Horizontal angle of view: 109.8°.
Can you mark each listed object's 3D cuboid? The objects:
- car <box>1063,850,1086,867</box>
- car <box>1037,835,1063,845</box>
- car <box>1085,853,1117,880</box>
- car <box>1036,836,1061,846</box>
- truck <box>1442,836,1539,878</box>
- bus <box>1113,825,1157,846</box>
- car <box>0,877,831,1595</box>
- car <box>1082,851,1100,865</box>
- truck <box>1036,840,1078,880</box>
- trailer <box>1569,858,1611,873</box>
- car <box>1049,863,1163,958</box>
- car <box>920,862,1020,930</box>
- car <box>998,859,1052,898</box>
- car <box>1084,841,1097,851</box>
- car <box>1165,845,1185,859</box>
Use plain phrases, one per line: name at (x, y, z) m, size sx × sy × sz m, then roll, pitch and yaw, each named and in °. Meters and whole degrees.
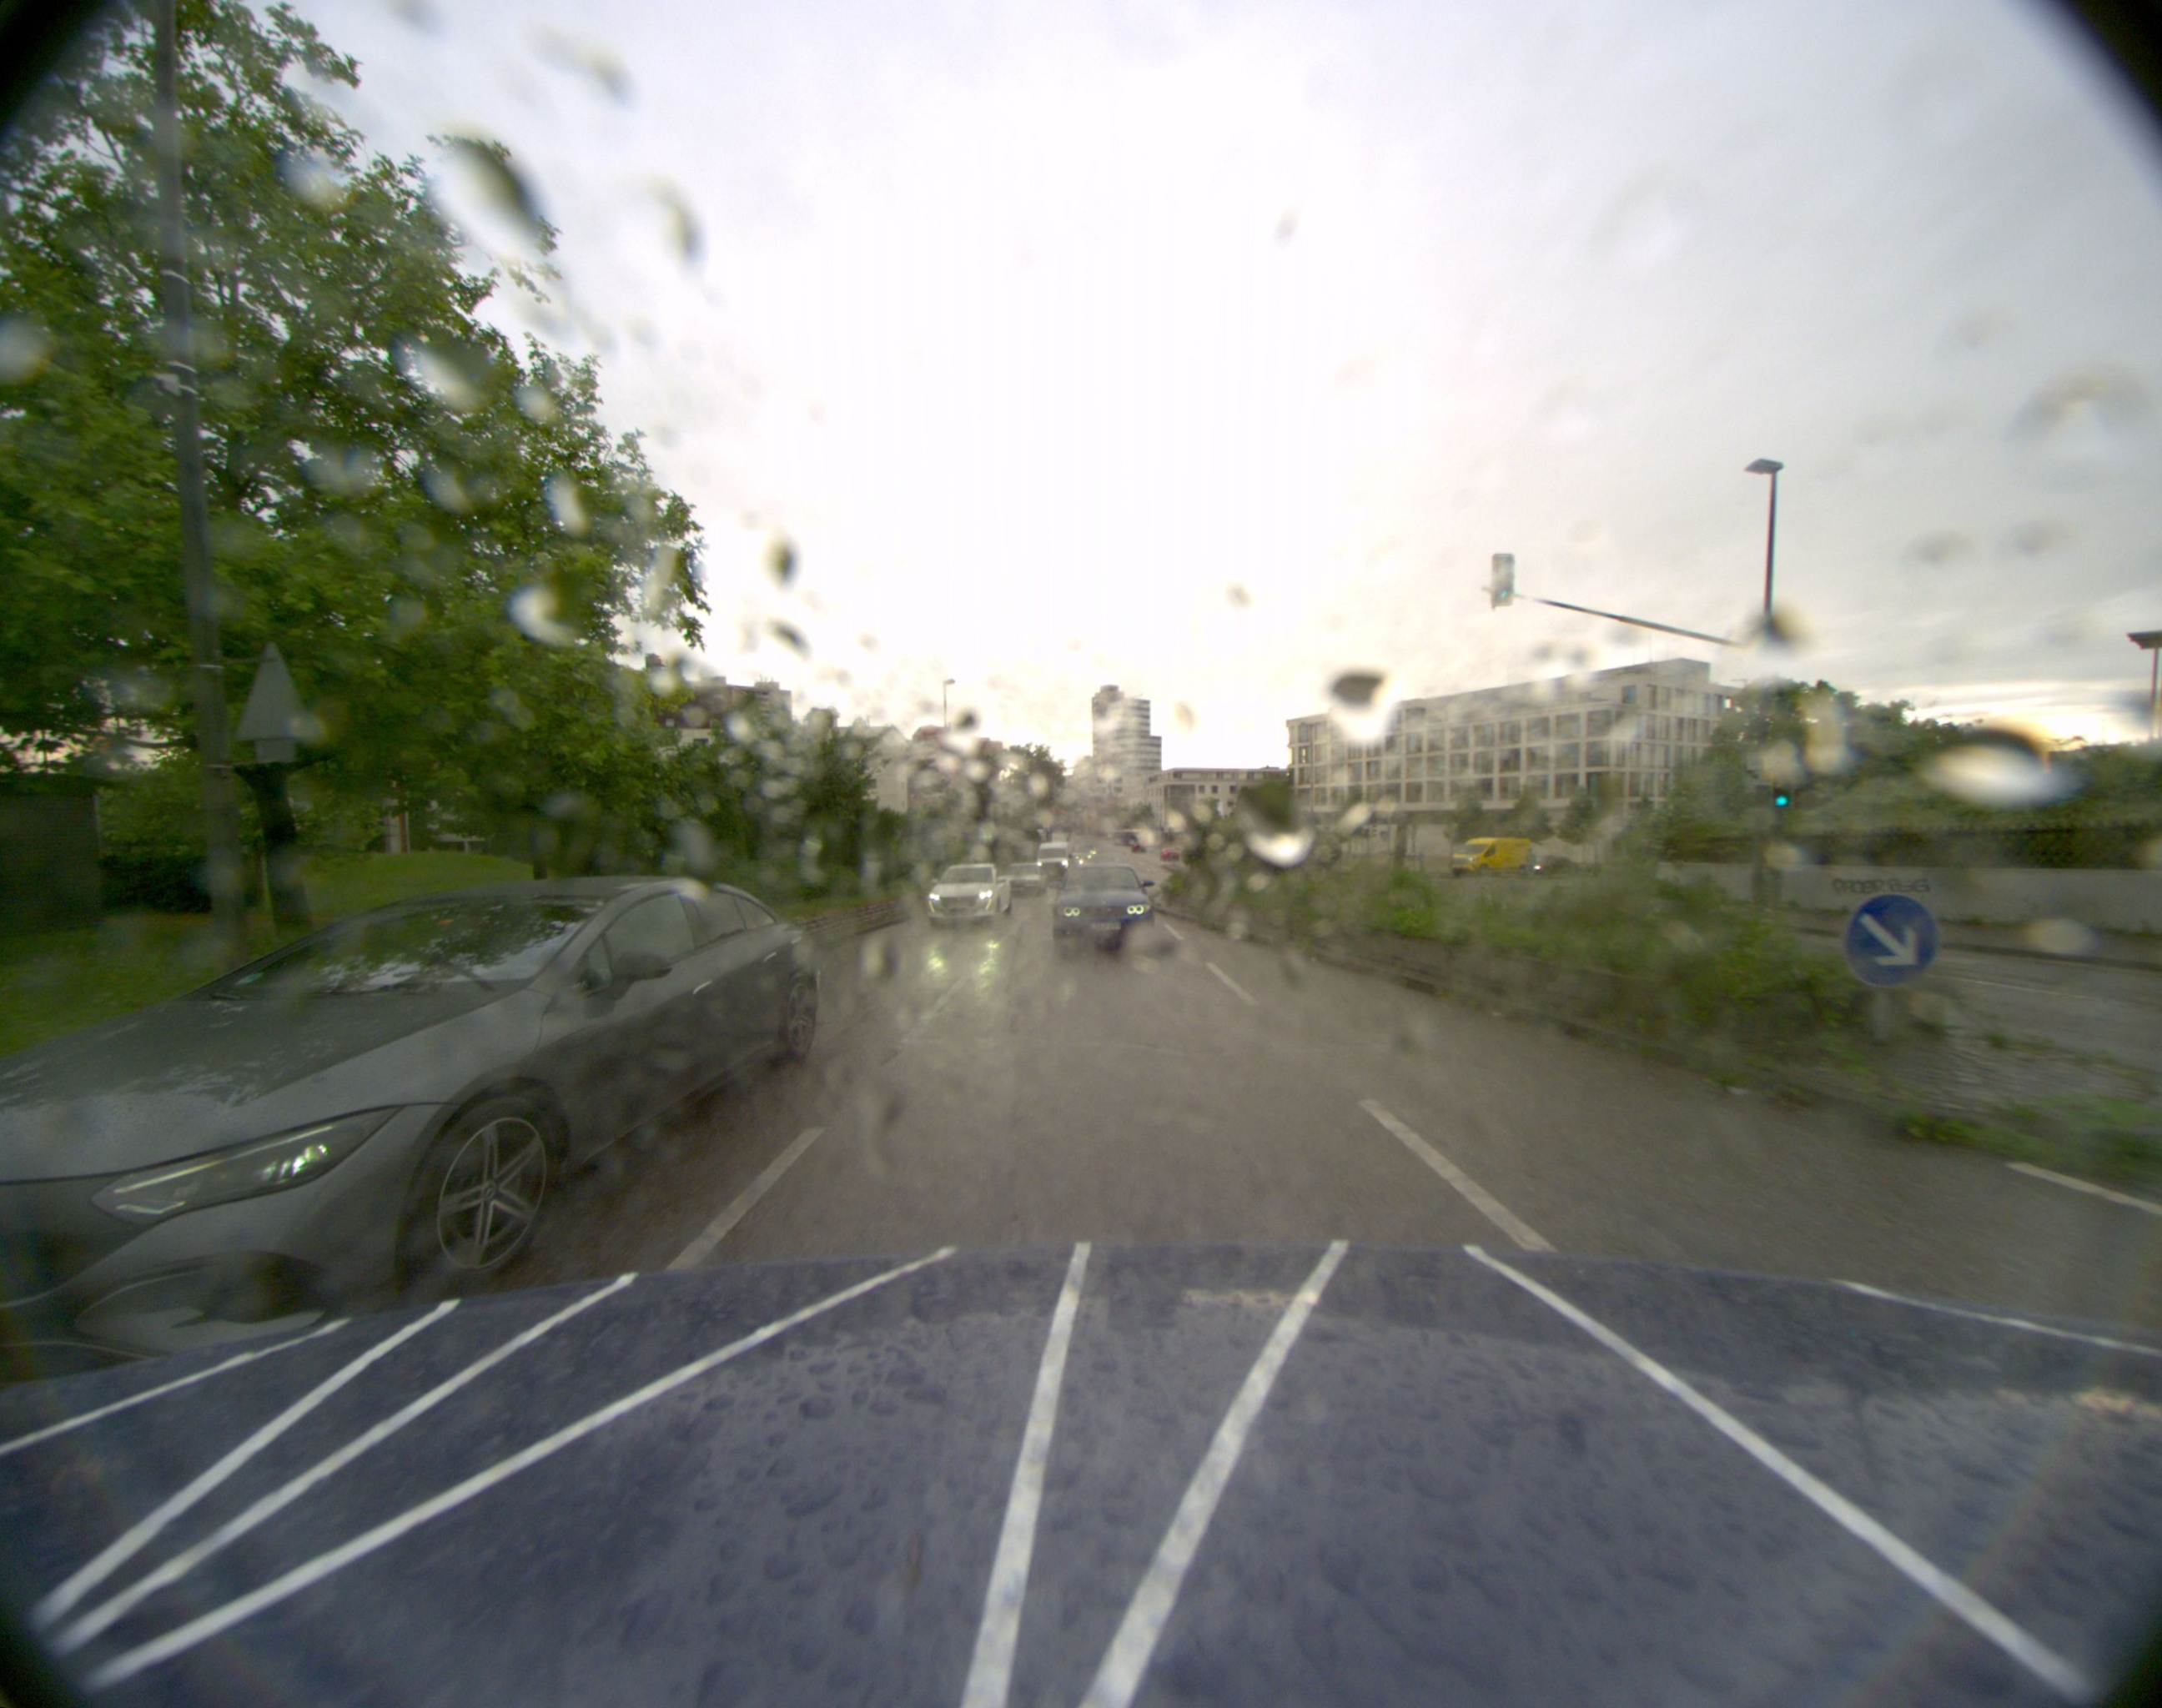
car at (-0.588, 0.422, 72.638) m, size 1.998 × 1.543 × 4.000 m, roll -2°, pitch 0°, yaw 1°
car at (-5.067, -2.256, 124.844) m, size 3.999 × 1.412 × 1.998 m, roll -3°, pitch 2°, yaw -6°
car at (1.204, 0.705, 45.048) m, size 1.717 × 1.369 × 3.735 m, roll -3°, pitch 1°, yaw 3°
car at (-5.475, -2.197, 127.217) m, size 3.999 × 1.412 × 1.701 m, roll -3°, pitch 2°, yaw -6°
truck at (25.857, 0.163, 47.941) m, size 6.184 × 2.524 × 2.223 m, roll 0°, pitch 2°, yaw -27°
bus at (10.572, -3.634, 151.801) m, size 2.955 × 3.973 × 18.199 m, roll 0°, pitch 2°, yaw -15°
car at (-3.109, 0.998, 4.045) m, size 1.836 × 1.436 × 4.550 m, roll -3°, pitch 1°, yaw 2°
car at (1.135, 0.481, 88.559) m, size 1.998 × 1.543 × 4.000 m, roll -2°, pitch 0°, yaw 1°
truck at (-1.506, 0.308, 50.011) m, size 2.168 × 2.426 × 6.200 m, roll -2°, pitch 1°, yaw 3°
trailer at (36.253, 0.822, 54.096) m, size 2.290 × 0.973 × 1.604 m, roll 0°, pitch 2°, yaw -30°
car at (0.515, 0.932, 13.997) m, size 1.786 × 1.335 × 3.705 m, roll -2°, pitch 1°, yaw 3°
car at (-2.783, 1.010, 19.882) m, size 1.717 × 1.389 × 4.036 m, roll -3°, pitch 1°, yaw 4°
car at (-2.311, 0.991, 32.130) m, size 1.717 × 1.369 × 3.735 m, roll -3°, pitch 1°, yaw 3°
car at (1.488, -1.224, 117.923) m, size 1.998 × 1.543 × 4.000 m, roll -2°, pitch 0°, yaw 1°
car at (10.920, -0.244, 88.313) m, size 1.998 × 1.406 × 4.430 m, roll -1°, pitch 2°, yaw 3°
